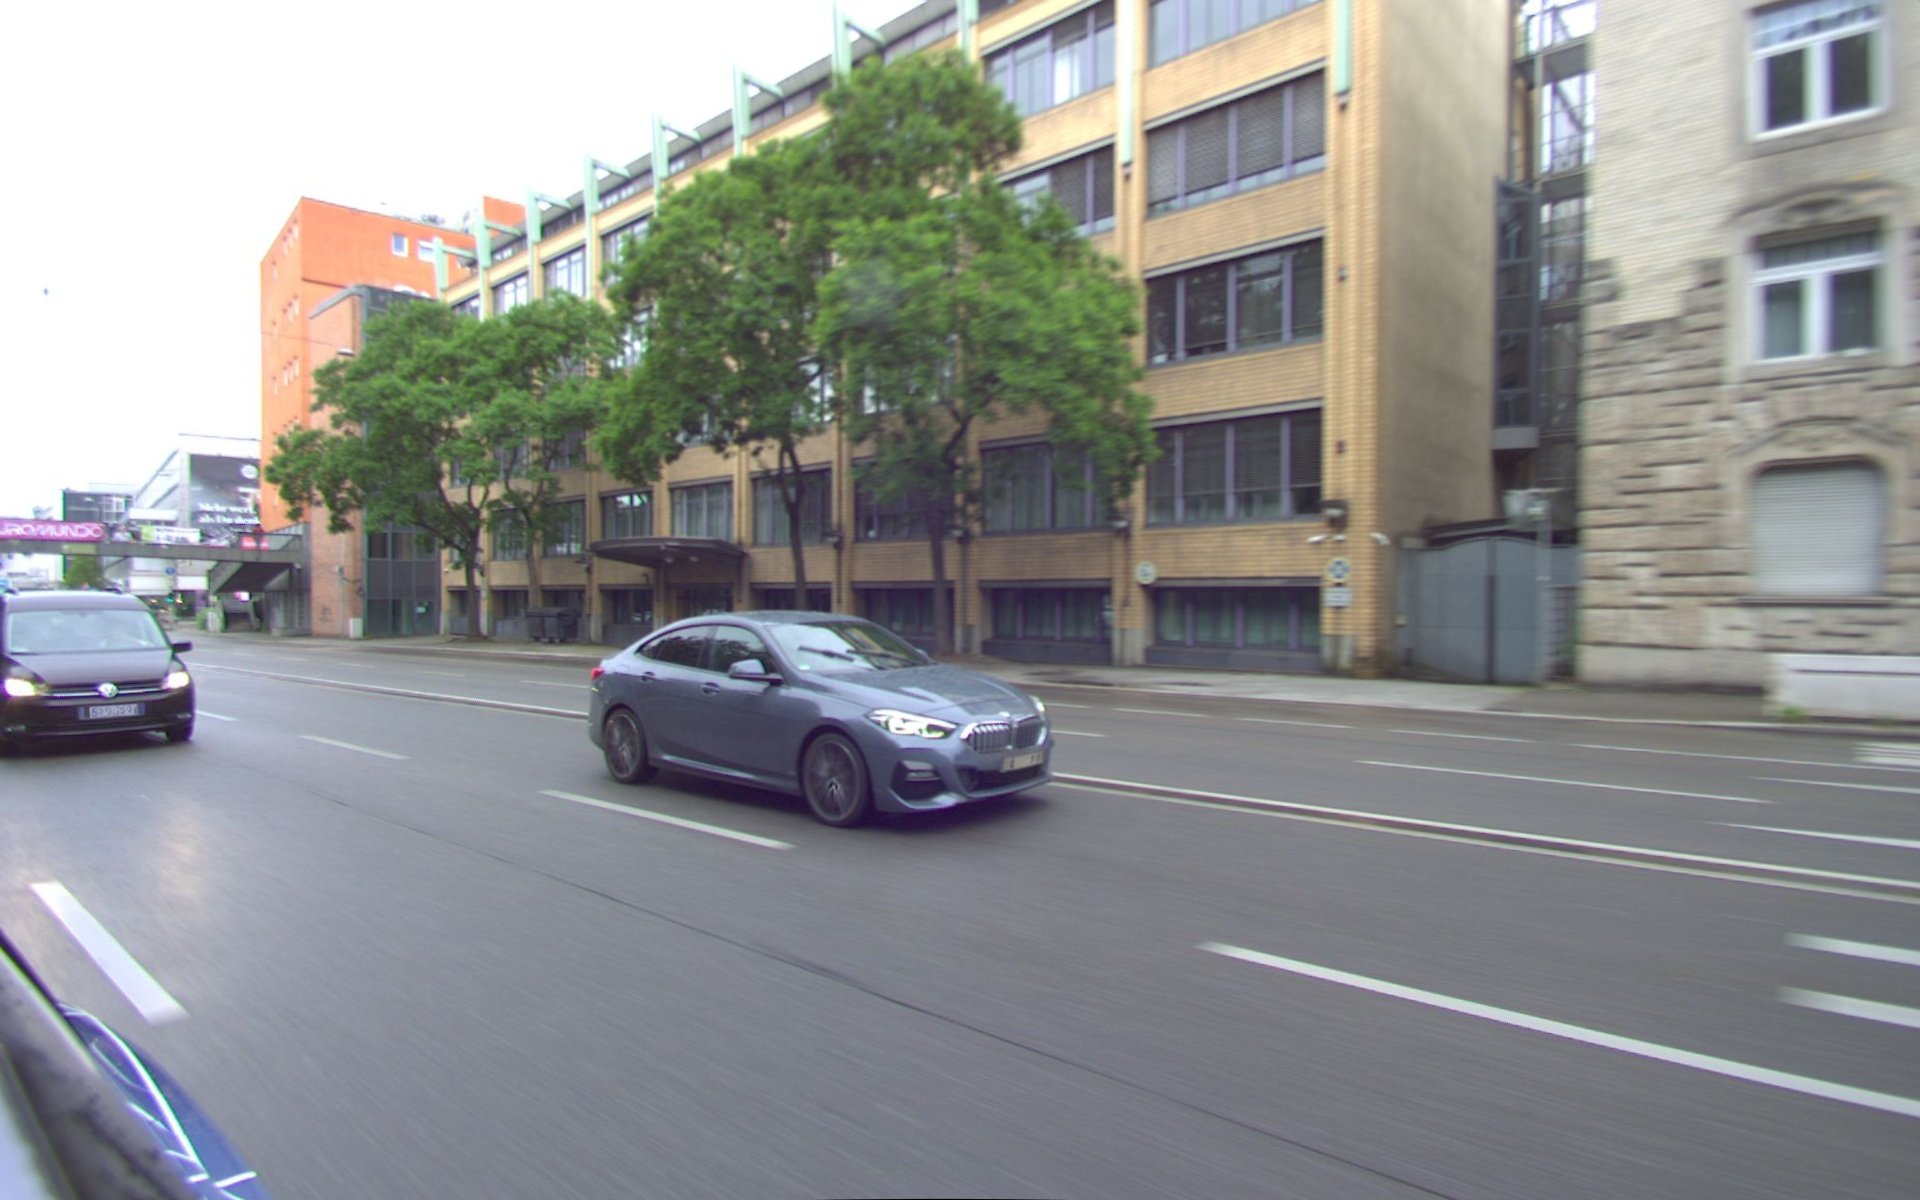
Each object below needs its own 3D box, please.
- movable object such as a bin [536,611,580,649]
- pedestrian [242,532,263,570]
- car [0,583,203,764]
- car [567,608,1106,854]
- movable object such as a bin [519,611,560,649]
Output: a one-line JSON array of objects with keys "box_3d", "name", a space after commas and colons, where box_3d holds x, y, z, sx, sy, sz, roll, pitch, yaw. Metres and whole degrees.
[{"box_3d": [-16.005, 1.180, 40.281, 1.370, 1.447, 1.058, -1, 0, 36], "name": "movable object such as a bin"}, {"box_3d": [-43.436, -3.002, 62.148, 0.737, 2.272, 0.823, 0, -1, 35], "name": "pedestrian"}, {"box_3d": [-10.525, 0.792, 12.036, 4.001, 1.805, 1.817, -2, -2, 44], "name": "car"}, {"box_3d": [-1.213, 0.797, 8.008, 4.538, 1.426, 1.648, -1, -1, 41], "name": "car"}, {"box_3d": [-17.077, 1.213, 41.106, 1.312, 1.447, 0.964, -1, 0, 36], "name": "movable object such as a bin"}]
